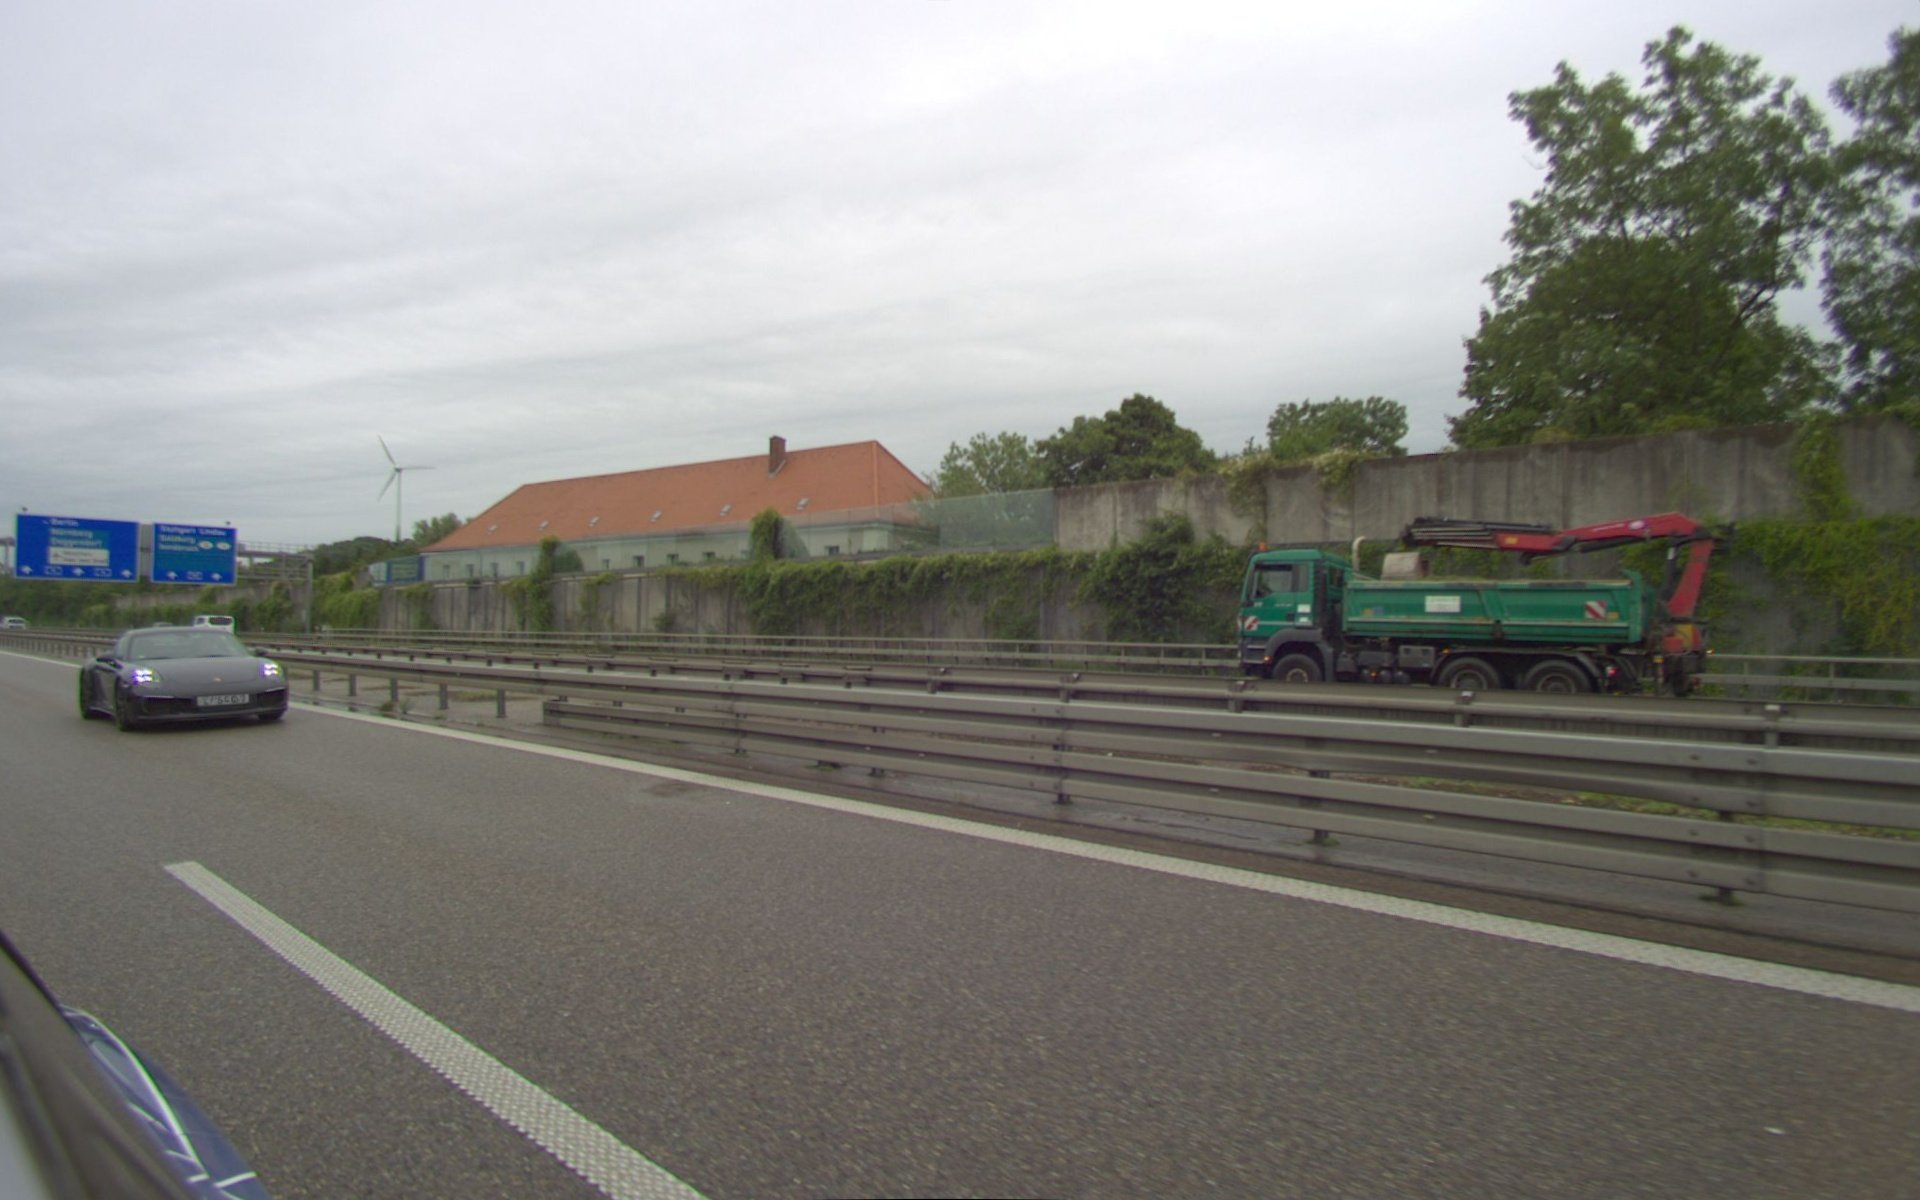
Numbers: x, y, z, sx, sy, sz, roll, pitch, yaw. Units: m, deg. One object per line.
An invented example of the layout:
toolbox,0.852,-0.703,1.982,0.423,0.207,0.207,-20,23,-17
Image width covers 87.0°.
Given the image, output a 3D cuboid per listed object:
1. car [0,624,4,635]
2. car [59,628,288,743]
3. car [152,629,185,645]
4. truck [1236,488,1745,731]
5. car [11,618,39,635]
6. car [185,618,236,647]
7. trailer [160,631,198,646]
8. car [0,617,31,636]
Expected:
car,-182.674,5.581,191.475,5.752,1.888,2.186,-1,0,42
car,-11.287,1.088,14.380,4.921,1.281,1.634,-1,0,41
car,-80.771,3.740,103.287,4.521,1.564,1.934,-1,0,43
truck,9.844,0.180,19.583,8.331,3.805,2.664,-1,0,40
car,-113.027,3.166,122.301,4.728,2.029,1.913,-1,0,40
car,-54.167,2.319,73.084,4.954,2.029,1.973,-1,0,41
trailer,-77.200,3.788,99.994,5.246,1.277,2.107,-1,0,42
car,-91.976,2.551,98.481,4.533,1.764,1.769,-1,-1,40
